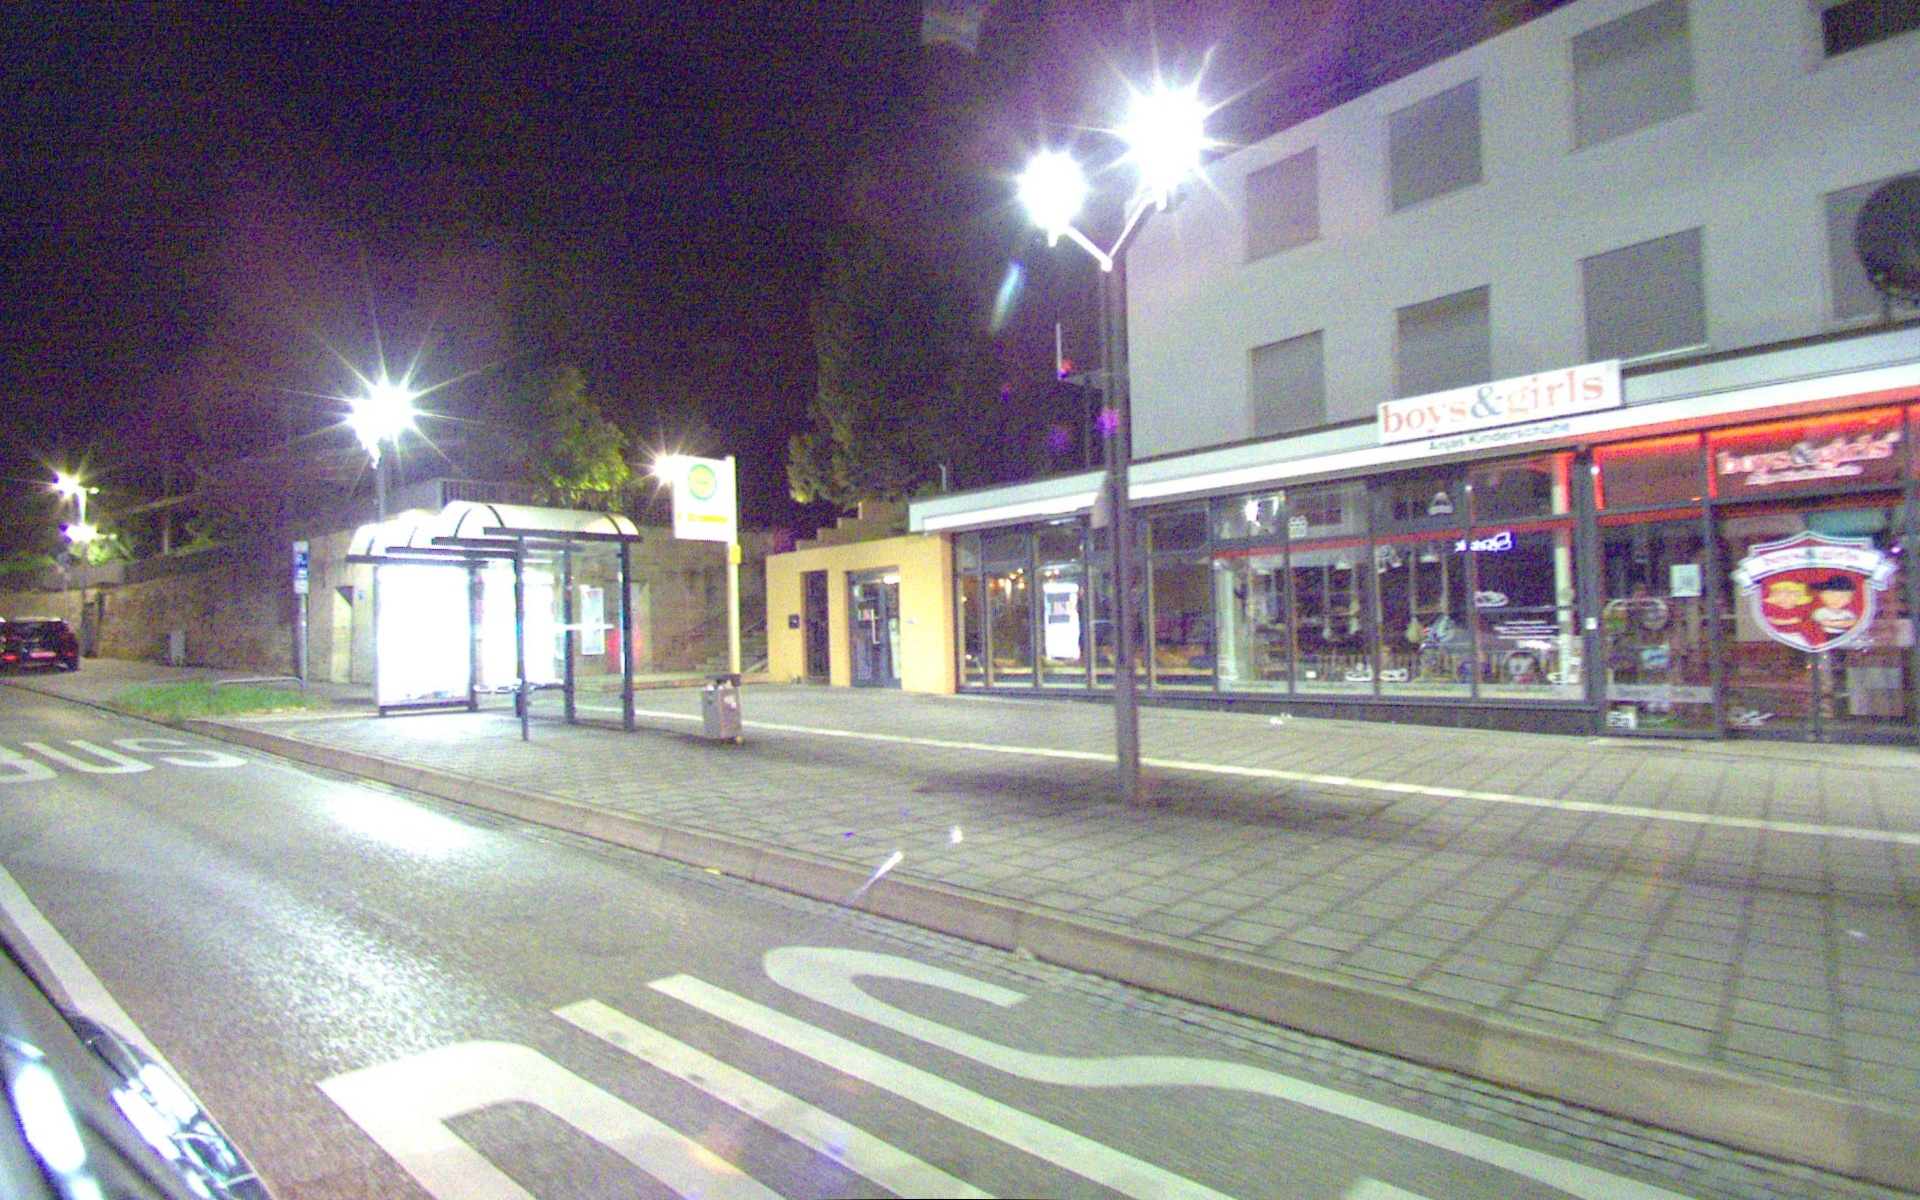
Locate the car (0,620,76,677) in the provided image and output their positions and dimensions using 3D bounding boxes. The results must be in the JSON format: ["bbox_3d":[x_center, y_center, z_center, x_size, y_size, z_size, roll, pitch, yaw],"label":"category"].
[{"bbox_3d":[-26.842,1.339,28.905,4.123,1.447,1.675,-1,1,39],"label":"car"}]
